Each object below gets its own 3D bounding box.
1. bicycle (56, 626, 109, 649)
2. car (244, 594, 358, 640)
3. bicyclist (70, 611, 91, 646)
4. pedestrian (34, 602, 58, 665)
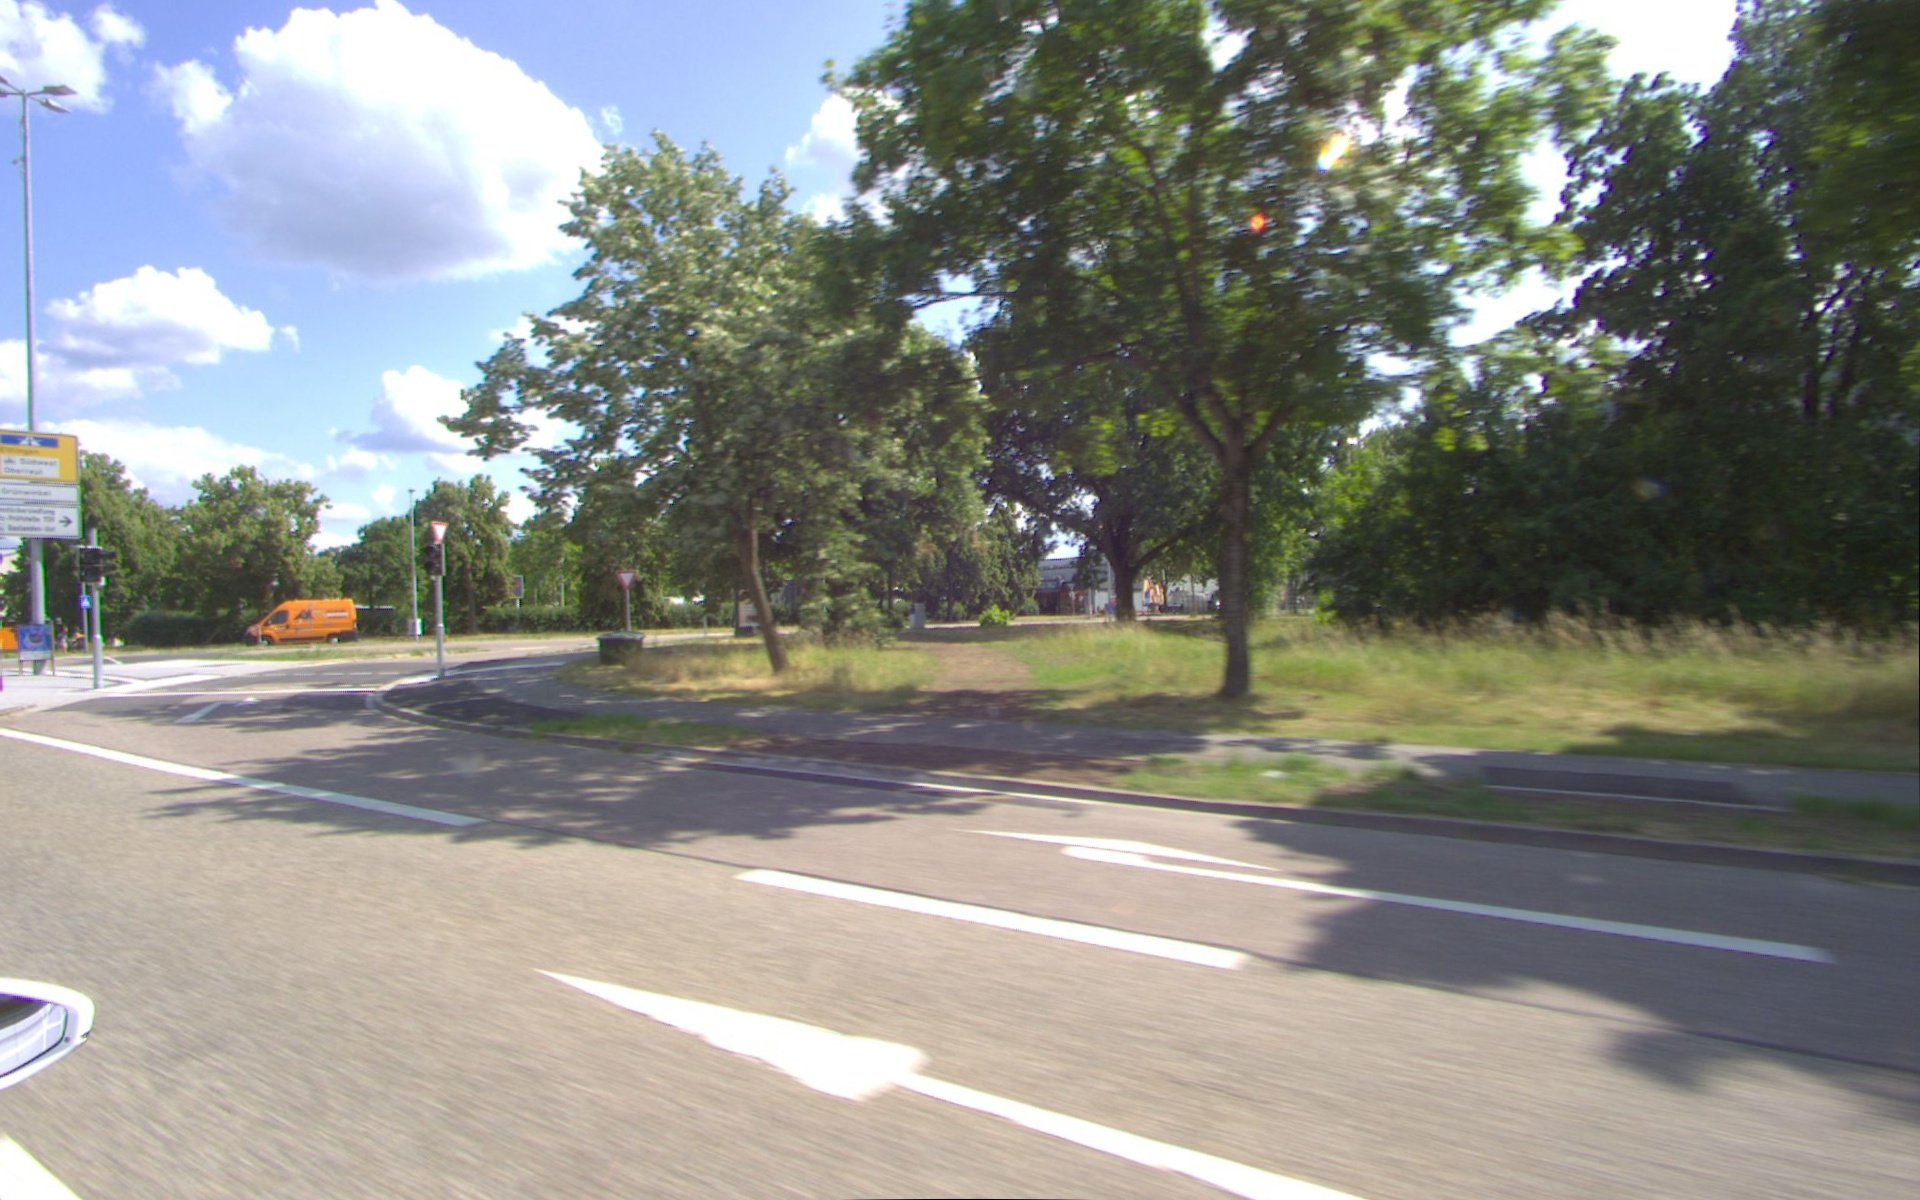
[{"bbox_3d":[-45.236,1.916,51.650,1.980,1.108,0.680,0,-1,-39],"label":"bicycle"},{"bbox_3d":[-33.950,0.930,51.767,4.795,2.253,2.199,1,-3,-33],"label":"car"},{"bbox_3d":[-45.314,1.467,51.587,0.780,1.828,0.680,-1,0,-39],"label":"bicyclist"},{"bbox_3d":[-26.784,0.986,29.355,0.477,1.801,0.462,-2,-2,44],"label":"pedestrian"}]
